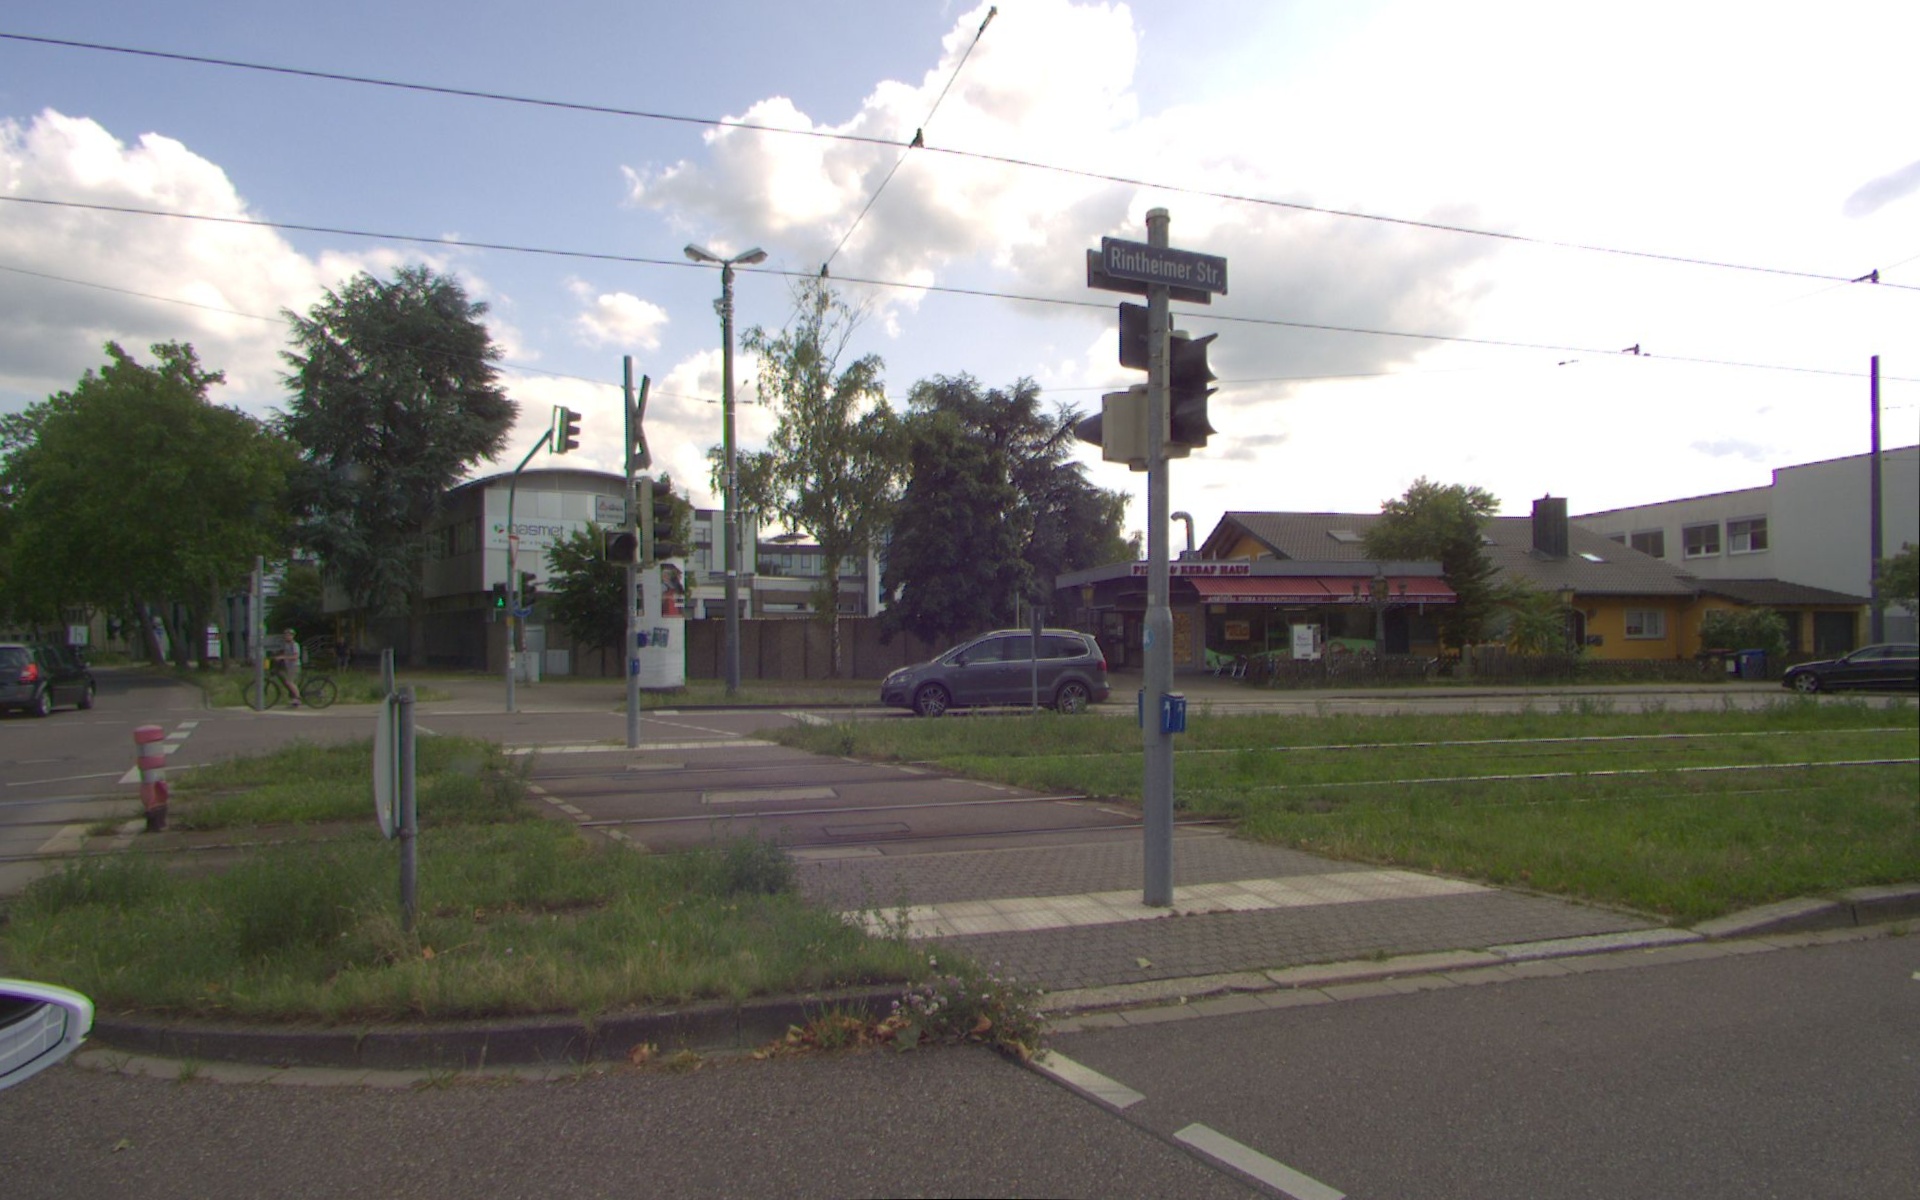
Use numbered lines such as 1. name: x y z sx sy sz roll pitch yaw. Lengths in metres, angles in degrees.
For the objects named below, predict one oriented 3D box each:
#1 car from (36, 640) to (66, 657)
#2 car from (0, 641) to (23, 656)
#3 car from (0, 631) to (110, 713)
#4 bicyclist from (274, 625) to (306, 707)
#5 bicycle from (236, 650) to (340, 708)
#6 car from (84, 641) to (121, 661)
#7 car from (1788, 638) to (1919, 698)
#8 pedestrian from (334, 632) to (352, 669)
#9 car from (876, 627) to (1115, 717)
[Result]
1. car: -98.941 5.253 108.986 3.953 1.595 1.984 1 0 41
2. car: -111.925 5.649 117.855 3.953 1.595 1.984 1 0 41
3. car: -20.566 1.553 22.033 1.708 1.651 4.041 -1 -2 -23
4. bicyclist: -15.356 1.493 22.950 0.537 1.833 0.538 1 1 -28
5. bicycle: -15.362 1.783 22.957 1.924 1.252 0.538 1 0 -29
6. car: -75.827 4.467 88.541 3.953 1.595 1.984 1 0 41
7. car: 26.369 1.874 27.974 1.972 1.599 4.559 1 -3 -30
8. pedestrian: -27.484 2.245 44.632 0.615 1.590 0.555 0 1 -38
9. car: 0.665 1.441 20.820 4.651 1.744 2.000 0 -2 -10
